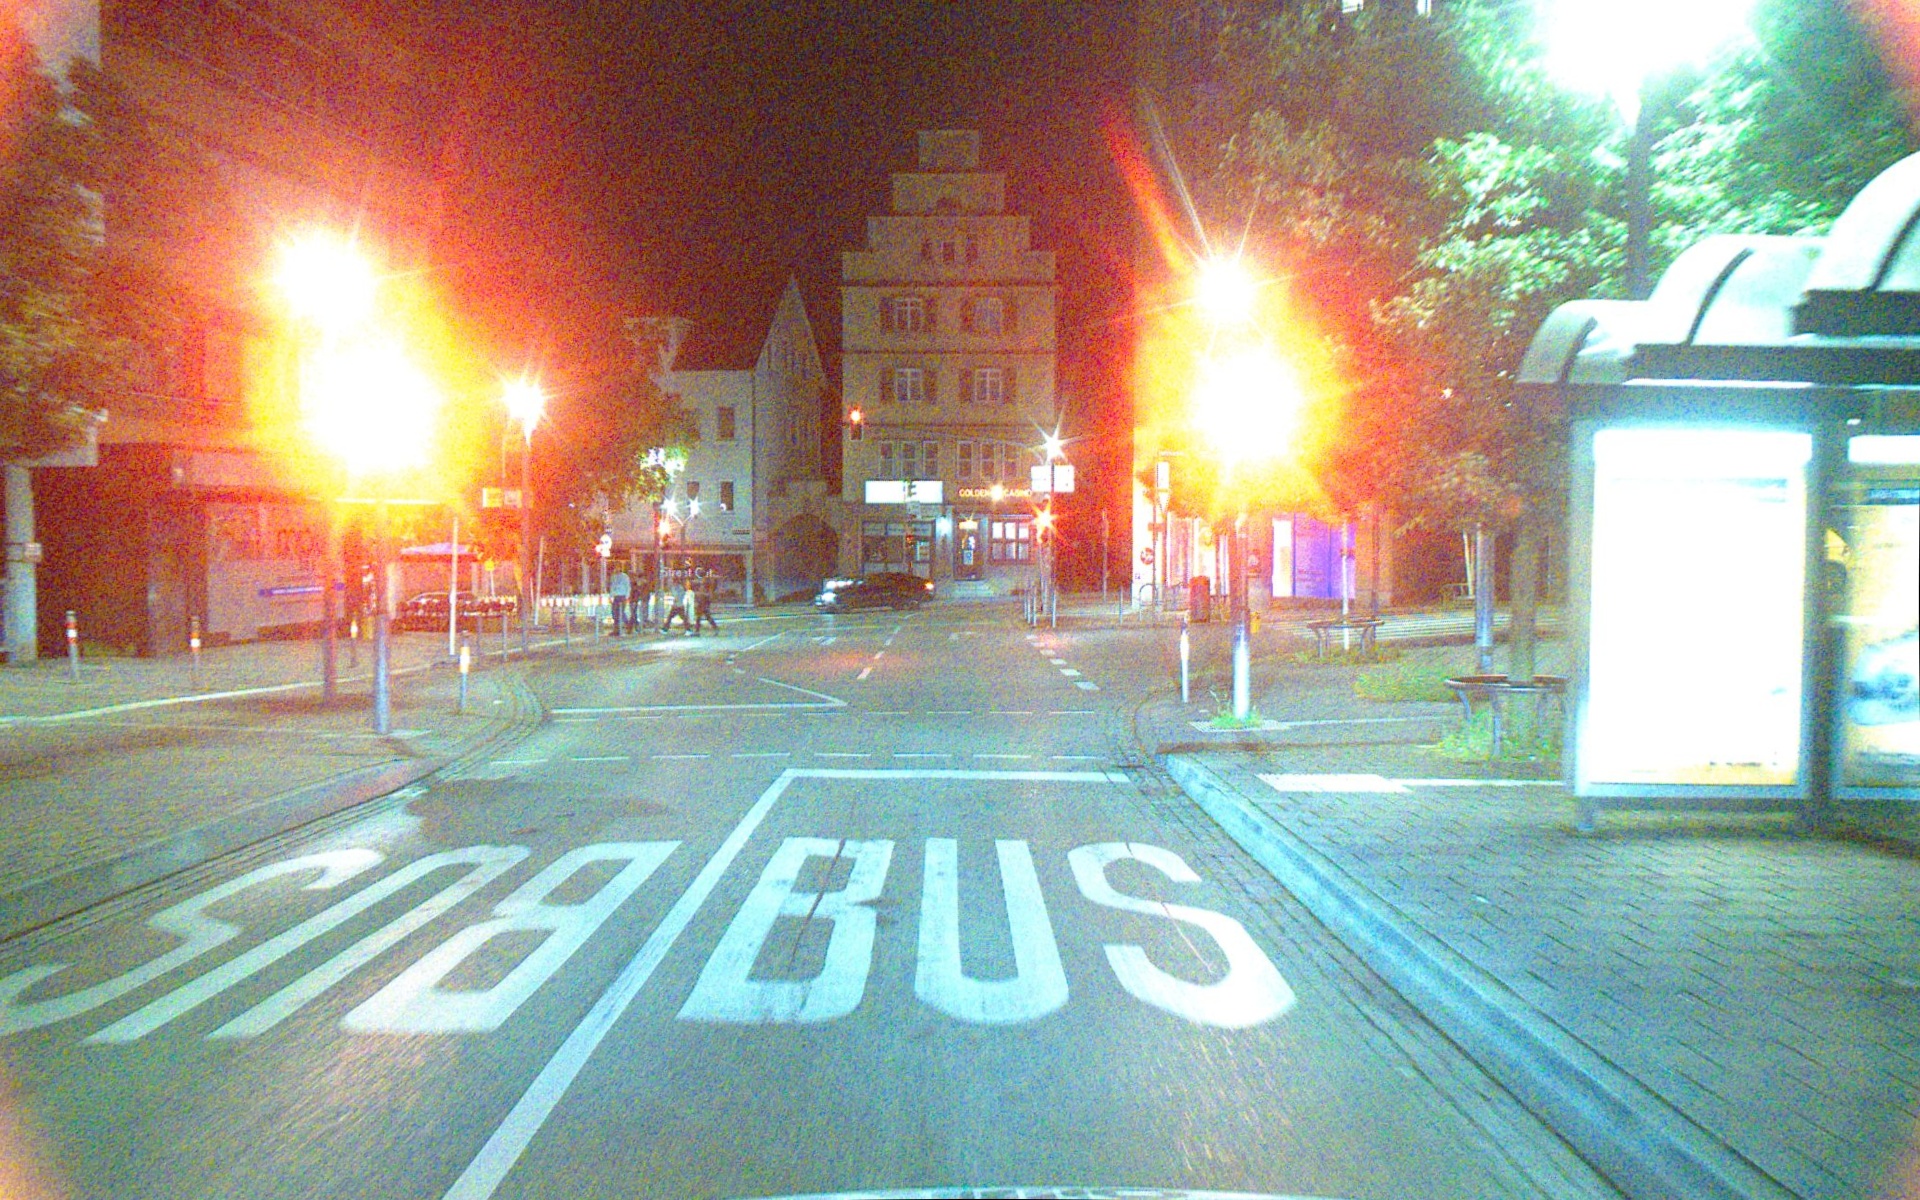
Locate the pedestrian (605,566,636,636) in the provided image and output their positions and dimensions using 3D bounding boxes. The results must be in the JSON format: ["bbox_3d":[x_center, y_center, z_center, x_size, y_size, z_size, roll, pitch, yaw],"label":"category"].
[{"bbox_3d":[-9.004,0.021,43.843,0.702,1.827,0.569,1,-1,-4],"label":"pedestrian"}]

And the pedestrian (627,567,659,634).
[{"bbox_3d":[-8.777,0.024,45.755,0.700,1.827,0.570,1,-1,6],"label":"pedestrian"}]

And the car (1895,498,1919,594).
[{"bbox_3d":[22.132,-1.120,34.169,4.747,1.943,2.151,0,-1,35],"label":"car"}]

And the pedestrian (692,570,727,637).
[{"bbox_3d":[-6.894,0.097,45.503,0.727,1.827,0.710,2,-1,-31],"label":"pedestrian"}]

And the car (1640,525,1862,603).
[{"bbox_3d":[17.236,-0.777,36.194,3.956,1.478,1.827,-3,1,6],"label":"car"}]

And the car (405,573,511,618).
[{"bbox_3d":[-19.512,-0.173,64.241,3.679,1.646,1.832,0,-1,27],"label":"car"}]

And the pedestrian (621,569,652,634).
[{"bbox_3d":[-9.213,0.056,47.093,0.700,1.827,0.570,1,-1,6],"label":"pedestrian"}]

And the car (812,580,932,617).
[{"bbox_3d":[-3.407,-0.039,63.990,4.354,1.320,1.631,1,-1,-21],"label":"car"}]

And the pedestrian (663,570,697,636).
[{"bbox_3d":[-7.778,0.090,45.951,0.702,1.827,0.568,0,-1,29],"label":"pedestrian"}]
